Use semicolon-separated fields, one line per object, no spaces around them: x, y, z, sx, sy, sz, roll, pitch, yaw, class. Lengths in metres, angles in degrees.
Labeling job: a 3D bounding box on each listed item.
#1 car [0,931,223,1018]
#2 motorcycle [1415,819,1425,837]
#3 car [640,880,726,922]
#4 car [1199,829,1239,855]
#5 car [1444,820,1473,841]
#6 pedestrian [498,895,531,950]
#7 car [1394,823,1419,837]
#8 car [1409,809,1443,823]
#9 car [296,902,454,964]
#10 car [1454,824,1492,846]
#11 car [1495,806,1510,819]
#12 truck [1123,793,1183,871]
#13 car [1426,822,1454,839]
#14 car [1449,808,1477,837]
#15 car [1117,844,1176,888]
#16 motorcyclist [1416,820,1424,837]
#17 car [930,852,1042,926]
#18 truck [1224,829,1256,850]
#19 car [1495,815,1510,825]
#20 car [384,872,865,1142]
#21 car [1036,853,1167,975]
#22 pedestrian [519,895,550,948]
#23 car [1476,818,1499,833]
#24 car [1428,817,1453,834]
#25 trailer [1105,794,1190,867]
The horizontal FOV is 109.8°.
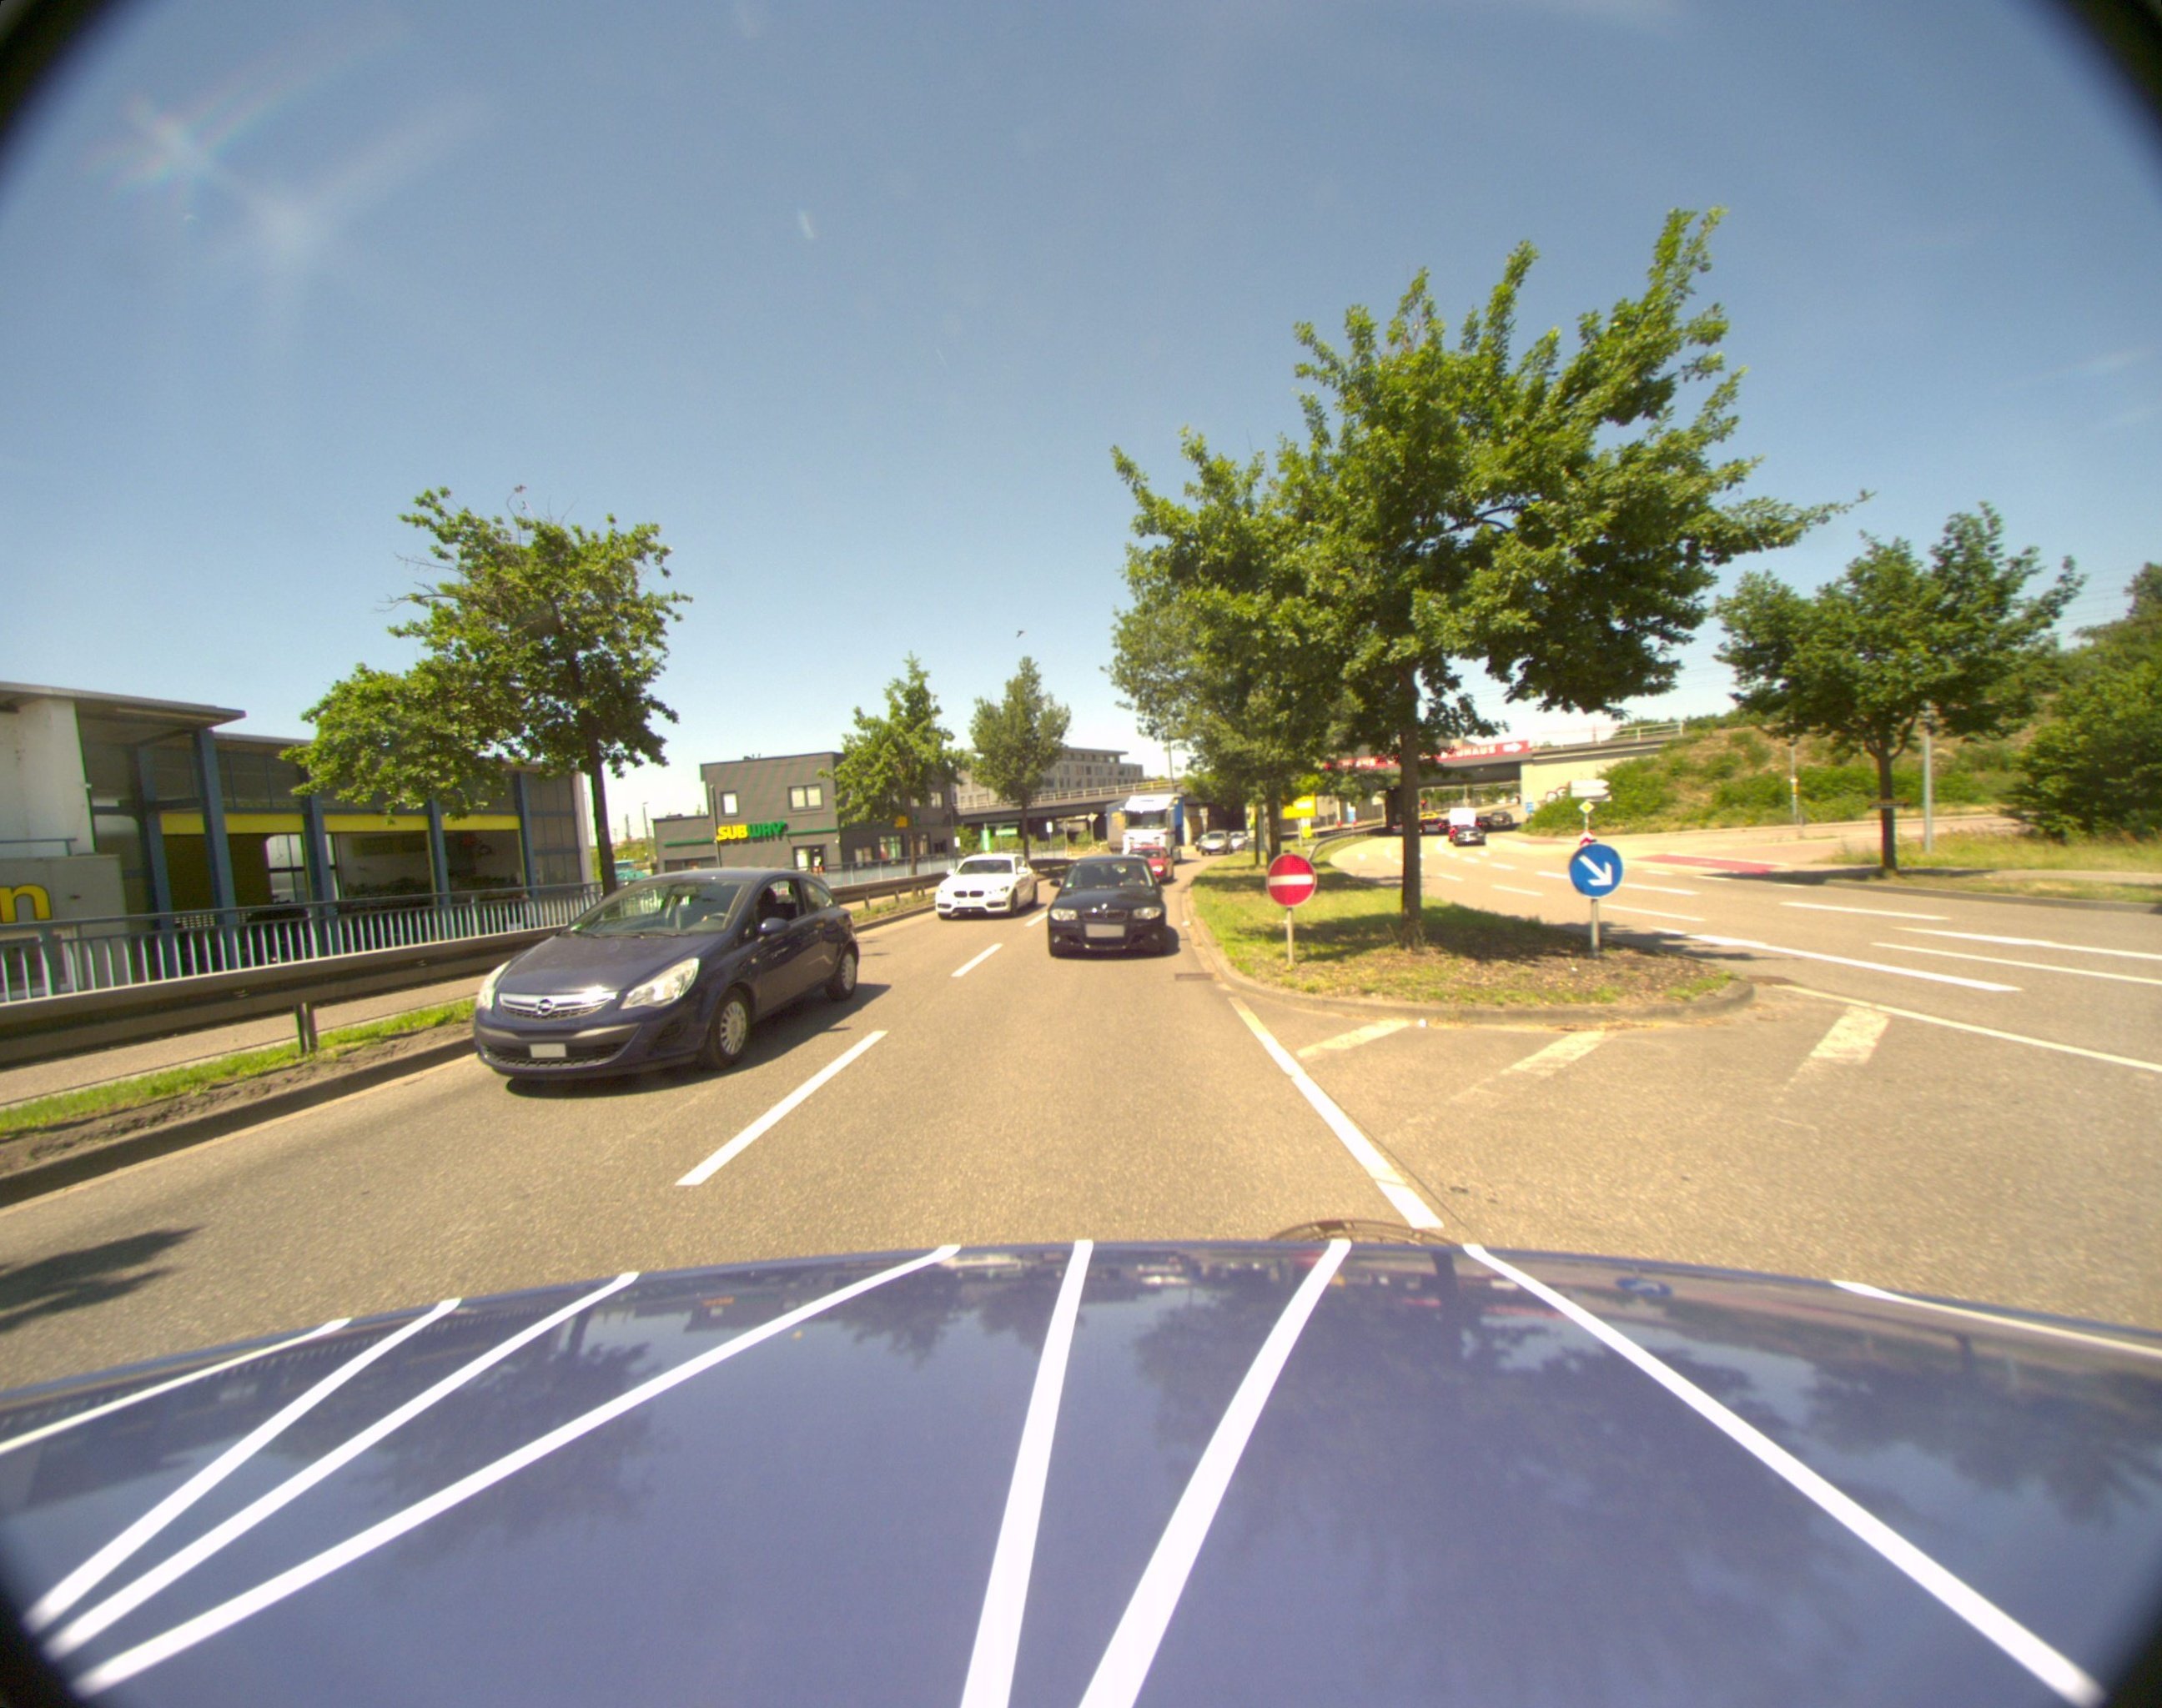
-23.481;2.883;18.382;3.675;1.675;1.650;-2;2;5;car
32.958;-2.516;73.865;0.598;1.669;2.429;-1;3;29;motorcycle
-16.811;1.919;31.944;2.003;1.350;5.068;-5;3;-41;car
10.050;-0.924;55.176;1.842;1.686;3.705;-1;3;27;car
29.966;-1.885;60.397;1.832;1.429;4.531;-2;2;24;car
-18.104;2.192;24.286;0.522;1.693;0.488;-2;3;10;pedestrian
34.219;-2.525;79.819;1.635;1.395;4.228;0;3;34;car
52.091;-5.717;114.755;4.318;1.849;1.871;-3;2;-1;car
-22.970;2.559;24.794;3.675;1.675;1.650;-2;2;6;car
27.195;-1.361;52.849;1.811;1.326;4.574;-2;2;21;car
63.930;-6.280;115.316;1.867;1.849;4.327;-1;3;29;car
4.272;-1.309;43.867;2.572;4.079;5.765;-2;2;13;truck
36.131;-2.380;76.390;1.635;1.558;4.080;0;2;38;car
34.699;-2.792;68.941;2.095;2.486;5.819;-1;1;28;car
2.503;0.402;28.253;1.645;1.391;4.055;0;2;13;car
32.924;-2.473;73.826;0.587;1.617;0.563;-1;3;30;motorcyclist
-2.159;0.762;18.456;1.762;1.435;4.053;-1;2;7;car
12.982;-1.214;62.031;1.728;1.493;4.005;-2;2;23;truck
54.489;-4.419;98.137;1.183;1.241;2.697;-1;3;40;car
-3.360;0.995;6.610;1.650;1.436;3.890;-2;1;2;car
0.327;0.801;12.119;1.681;1.409;4.055;-3;2;2;car
-18.047;2.216;25.104;0.427;1.693;0.590;-2;3;9;pedestrian
47.089;-3.303;88.003;1.570;1.494;3.413;-1;3;40;car
43.077;-3.446;90.938;1.903;1.849;4.007;-1;3;37;car
4.071;-1.484;50.898;2.500;4.067;13.893;-4;2;-7;trailer
